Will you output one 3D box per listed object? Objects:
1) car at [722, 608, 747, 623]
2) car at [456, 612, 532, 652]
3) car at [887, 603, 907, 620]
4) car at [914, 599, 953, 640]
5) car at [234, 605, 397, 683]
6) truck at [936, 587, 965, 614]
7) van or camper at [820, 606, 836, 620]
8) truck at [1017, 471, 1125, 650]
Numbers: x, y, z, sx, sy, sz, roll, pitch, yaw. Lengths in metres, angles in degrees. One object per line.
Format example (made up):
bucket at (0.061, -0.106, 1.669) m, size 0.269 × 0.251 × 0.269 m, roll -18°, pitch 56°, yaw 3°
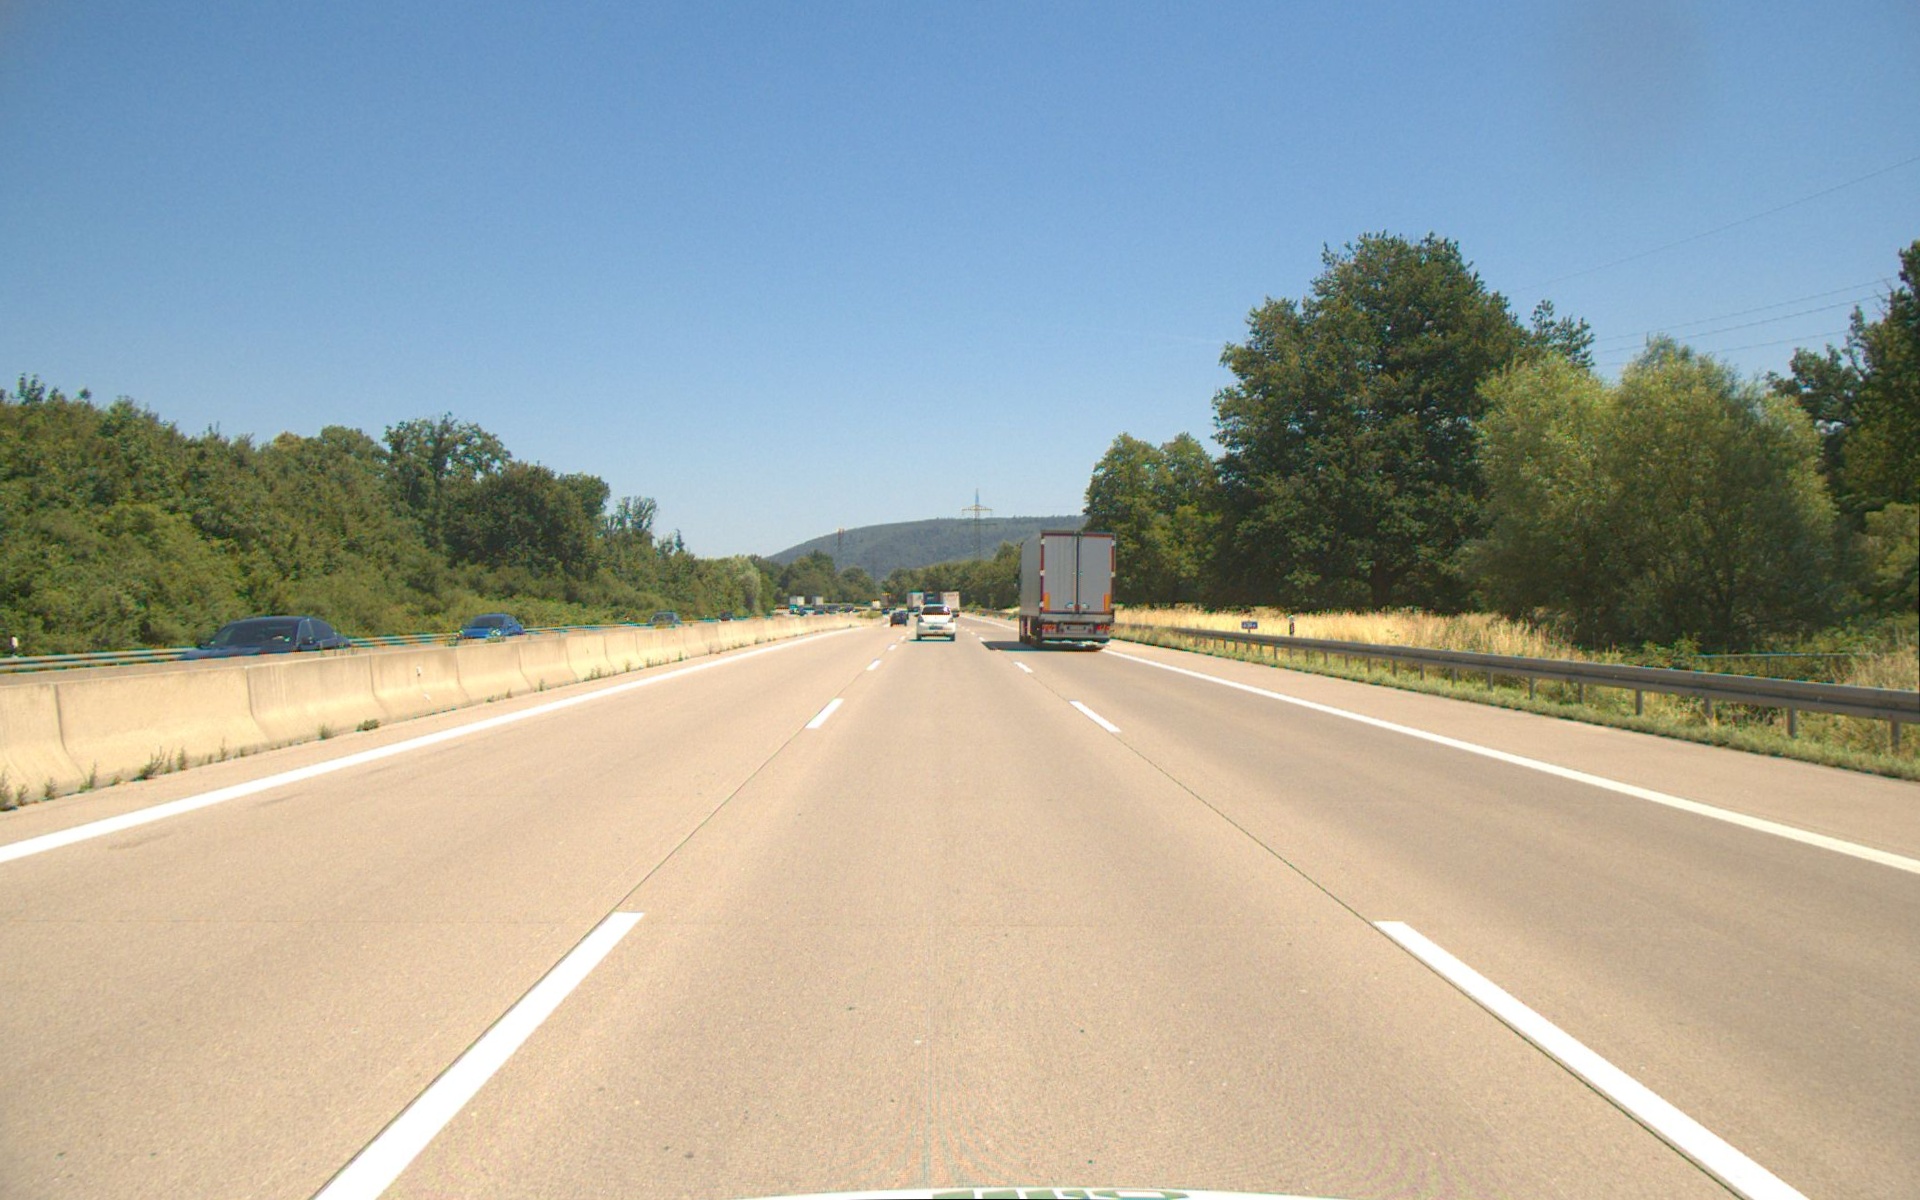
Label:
car at (-22.304, 1.516, 163.488) m, size 1.888 × 1.400 × 4.000 m, roll -1°, pitch 0°, yaw 0°
car at (-17.226, 1.150, 61.335) m, size 1.674 × 1.409 × 4.506 m, roll 0°, pitch 0°, yaw -2°
car at (-6.757, 1.249, 177.732) m, size 1.982 × 1.730 × 3.997 m, roll 2°, pitch 0°, yaw -4°
car at (-1.142, 0.839, 71.258) m, size 1.608 × 1.691 × 3.359 m, roll 1°, pitch 0°, yaw -1°
car at (-12.583, 0.819, 32.536) m, size 1.664 × 1.441 × 4.015 m, roll 0°, pitch 0°, yaw -1°
truck at (-1.592, 0.044, 265.994) m, size 3.744 × 3.957 × 14.145 m, roll -4°, pitch 0°, yaw -3°
van or camper at (-17.277, 1.694, 216.192) m, size 1.810 × 1.915 × 4.415 m, roll 0°, pitch 0°, yaw -2°
truck at (3.983, -1.340, 63.785) m, size 3.503 × 5.888 × 18.251 m, roll 0°, pitch 0°, yaw 2°
